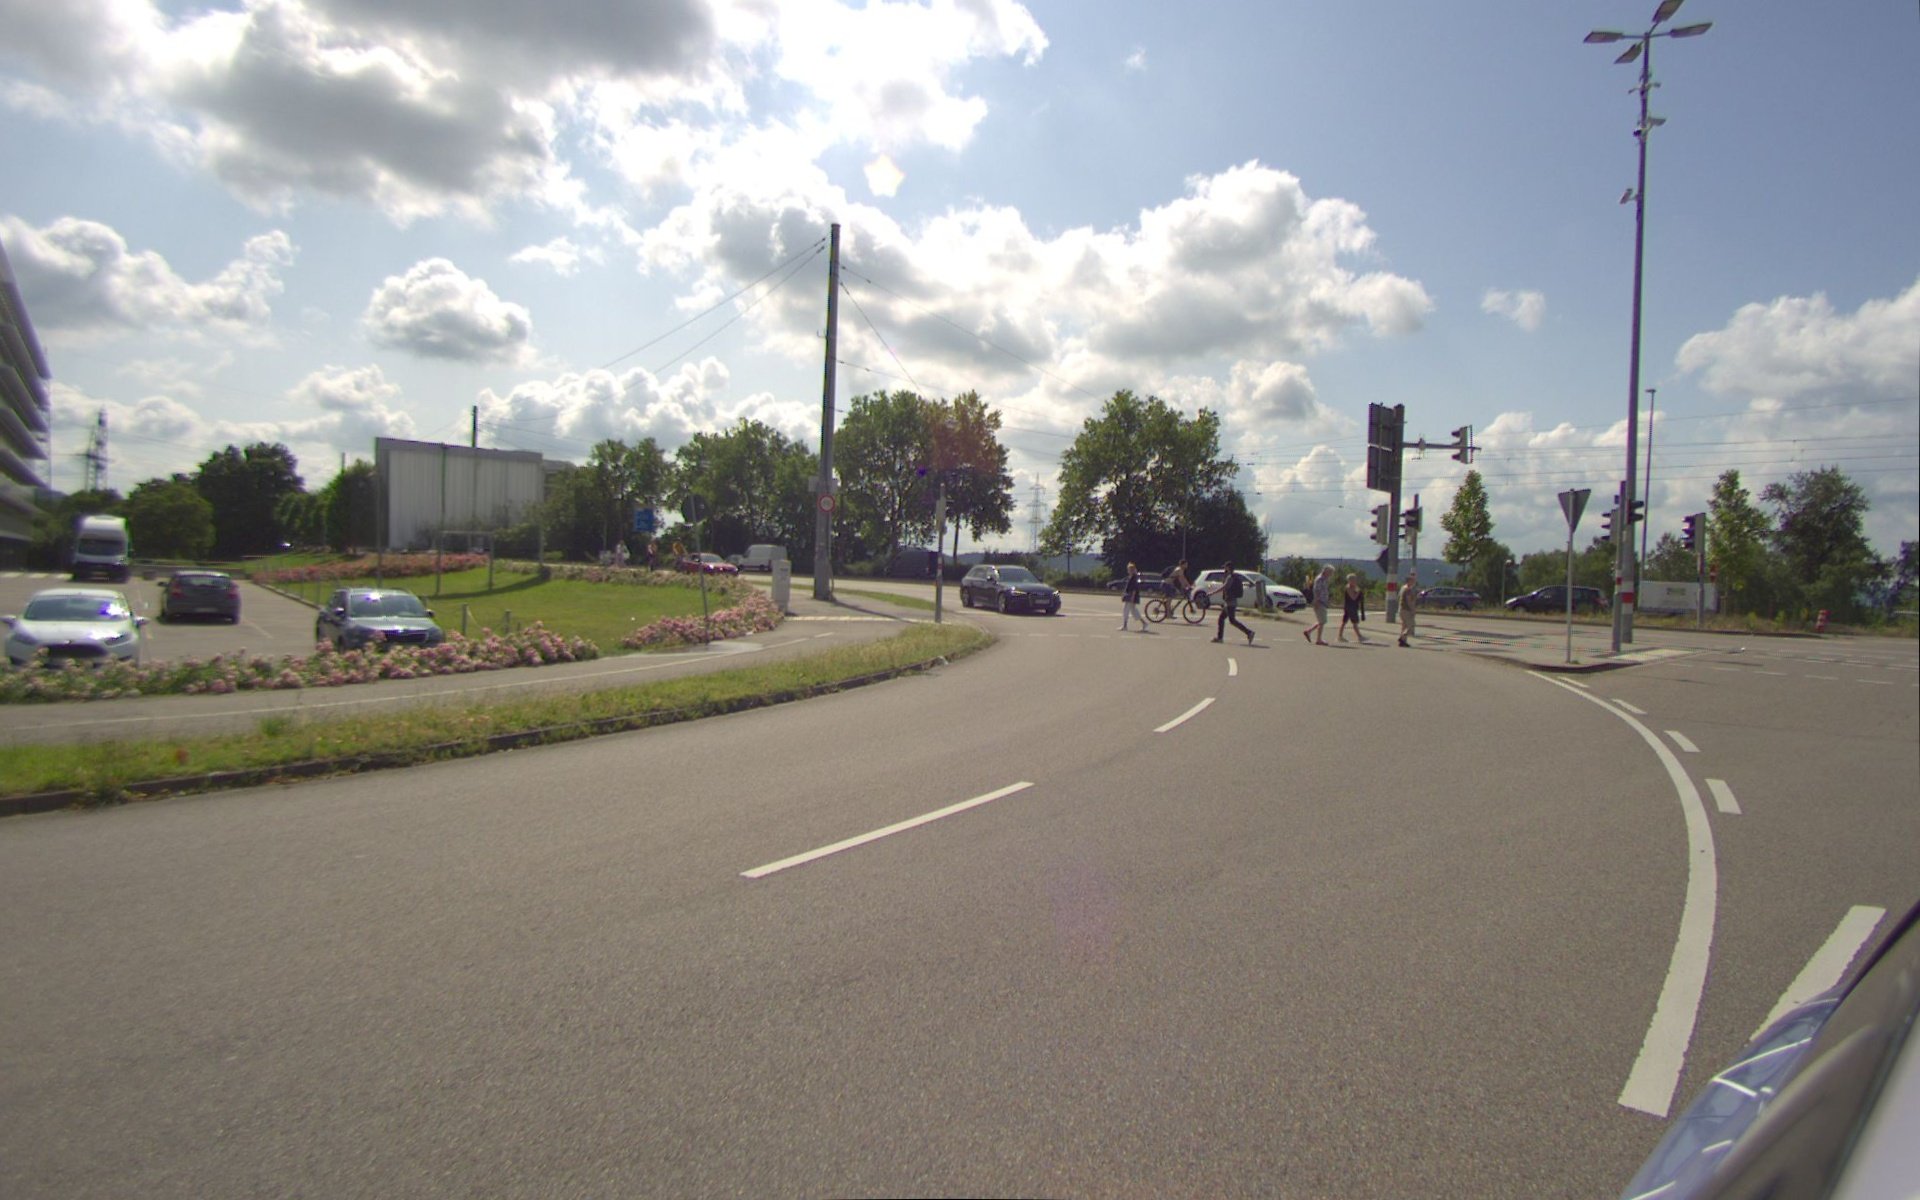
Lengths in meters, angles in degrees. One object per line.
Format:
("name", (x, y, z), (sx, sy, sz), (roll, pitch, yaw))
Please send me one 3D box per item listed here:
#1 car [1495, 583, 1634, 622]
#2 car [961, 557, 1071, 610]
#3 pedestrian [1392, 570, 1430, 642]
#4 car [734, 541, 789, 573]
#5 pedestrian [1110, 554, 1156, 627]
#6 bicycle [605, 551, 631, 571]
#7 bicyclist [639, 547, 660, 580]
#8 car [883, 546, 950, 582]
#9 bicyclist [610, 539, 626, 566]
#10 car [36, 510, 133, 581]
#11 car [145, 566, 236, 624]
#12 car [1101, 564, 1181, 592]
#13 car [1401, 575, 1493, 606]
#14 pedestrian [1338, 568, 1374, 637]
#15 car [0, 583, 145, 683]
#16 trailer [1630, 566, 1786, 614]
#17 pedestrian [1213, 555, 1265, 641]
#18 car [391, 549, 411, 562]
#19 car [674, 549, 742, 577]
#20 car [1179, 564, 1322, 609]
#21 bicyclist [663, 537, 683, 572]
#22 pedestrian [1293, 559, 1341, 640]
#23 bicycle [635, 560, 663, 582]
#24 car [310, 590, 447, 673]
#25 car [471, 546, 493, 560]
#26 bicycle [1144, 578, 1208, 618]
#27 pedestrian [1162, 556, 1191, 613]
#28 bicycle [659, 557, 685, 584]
("car", (27.478, 0.087, 46.099), (5.228, 1.594, 1.971), (2, 0, 40))
("car", (1.712, -0.576, 32.464), (1.876, 1.501, 4.212), (-1, 3, -22))
("pedestrian", (9.843, 0.128, 22.077), (0.460, 1.543, 0.557), (2, -1, -31))
("car", (-17.926, -3.890, 91.352), (5.575, 2.522, 1.928), (5, 2, 44))
("pedestrian", (4.351, -0.242, 25.527), (0.848, 1.787, 0.864), (1, 1, -13))
("bicycle", (-17.478, -2.007, 51.716), (0.586, 0.973, 1.985), (2, 0, -39))
("bicyclist", (-14.535, -1.706, 47.378), (0.639, 1.494, 0.742), (2, -1, -39))
("car", (-3.564, -2.910, 81.968), (5.661, 2.637, 1.960), (4, 0, 45))
("bicyclist", (-17.480, -2.425, 51.729), (0.582, 1.342, 0.687), (2, -1, -39))
("car", (-43.371, -2.665, 50.359), (3.064, 3.193, 7.903), (0, 2, -37))
("car", (-23.092, -0.188, 30.357), (2.011, 1.426, 4.372), (2, 2, -38))
("car", (11.715, -1.445, 65.770), (4.763, 1.527, 1.937), (4, 0, 41))
("car", (25.635, -0.516, 53.356), (4.059, 1.465, 1.702), (3, 2, 45))
("pedestrian", (9.062, 0.053, 23.181), (0.460, 1.543, 0.586), (1, 1, -31))
("car", (-15.383, 0.479, 17.654), (1.764, 1.458, 4.369), (1, 1, -39))
("trailer", (31.511, -0.468, 42.747), (5.159, 1.854, 1.799), (2, 2, 40))
("pedestrian", (6.078, -0.055, 22.064), (0.744, 1.825, 0.823), (1, 0, -13))
("car", (-106.724, -8.501, 193.187), (2.113, 2.388, 5.470), (1, 1, -43))
("car", (-13.340, -1.983, 53.495), (1.719, 1.377, 4.243), (0, 3, -41))
("car", (10.283, -0.498, 36.036), (1.980, 1.430, 4.489), (1, 2, -43))
("bicyclist", (-12.830, -2.027, 45.183), (0.609, 1.555, 0.697), (2, -1, -36))
("pedestrian", (7.896, -0.029, 22.416), (0.686, 1.749, 0.690), (0, 2, -29))
("bicycle", (-14.552, -1.360, 47.371), (0.654, 0.973, 1.694), (2, 0, -39))
("car", (-11.984, 0.563, 20.745), (1.686, 1.435, 3.994), (0, 2, -41))
("car", (-72.456, -7.112, 153.266), (1.965, 1.972, 3.994), (0, 2, -41))
("bicycle", (6.042, -0.048, 28.377), (1.663, 1.061, 0.507), (2, 0, 0))
("pedestrian", (6.067, -0.437, 28.378), (0.672, 1.556, 0.507), (2, 0, -1))
("bicycle", (-12.868, -1.321, 45.195), (0.609, 1.180, 1.505), (2, 0, -35))
